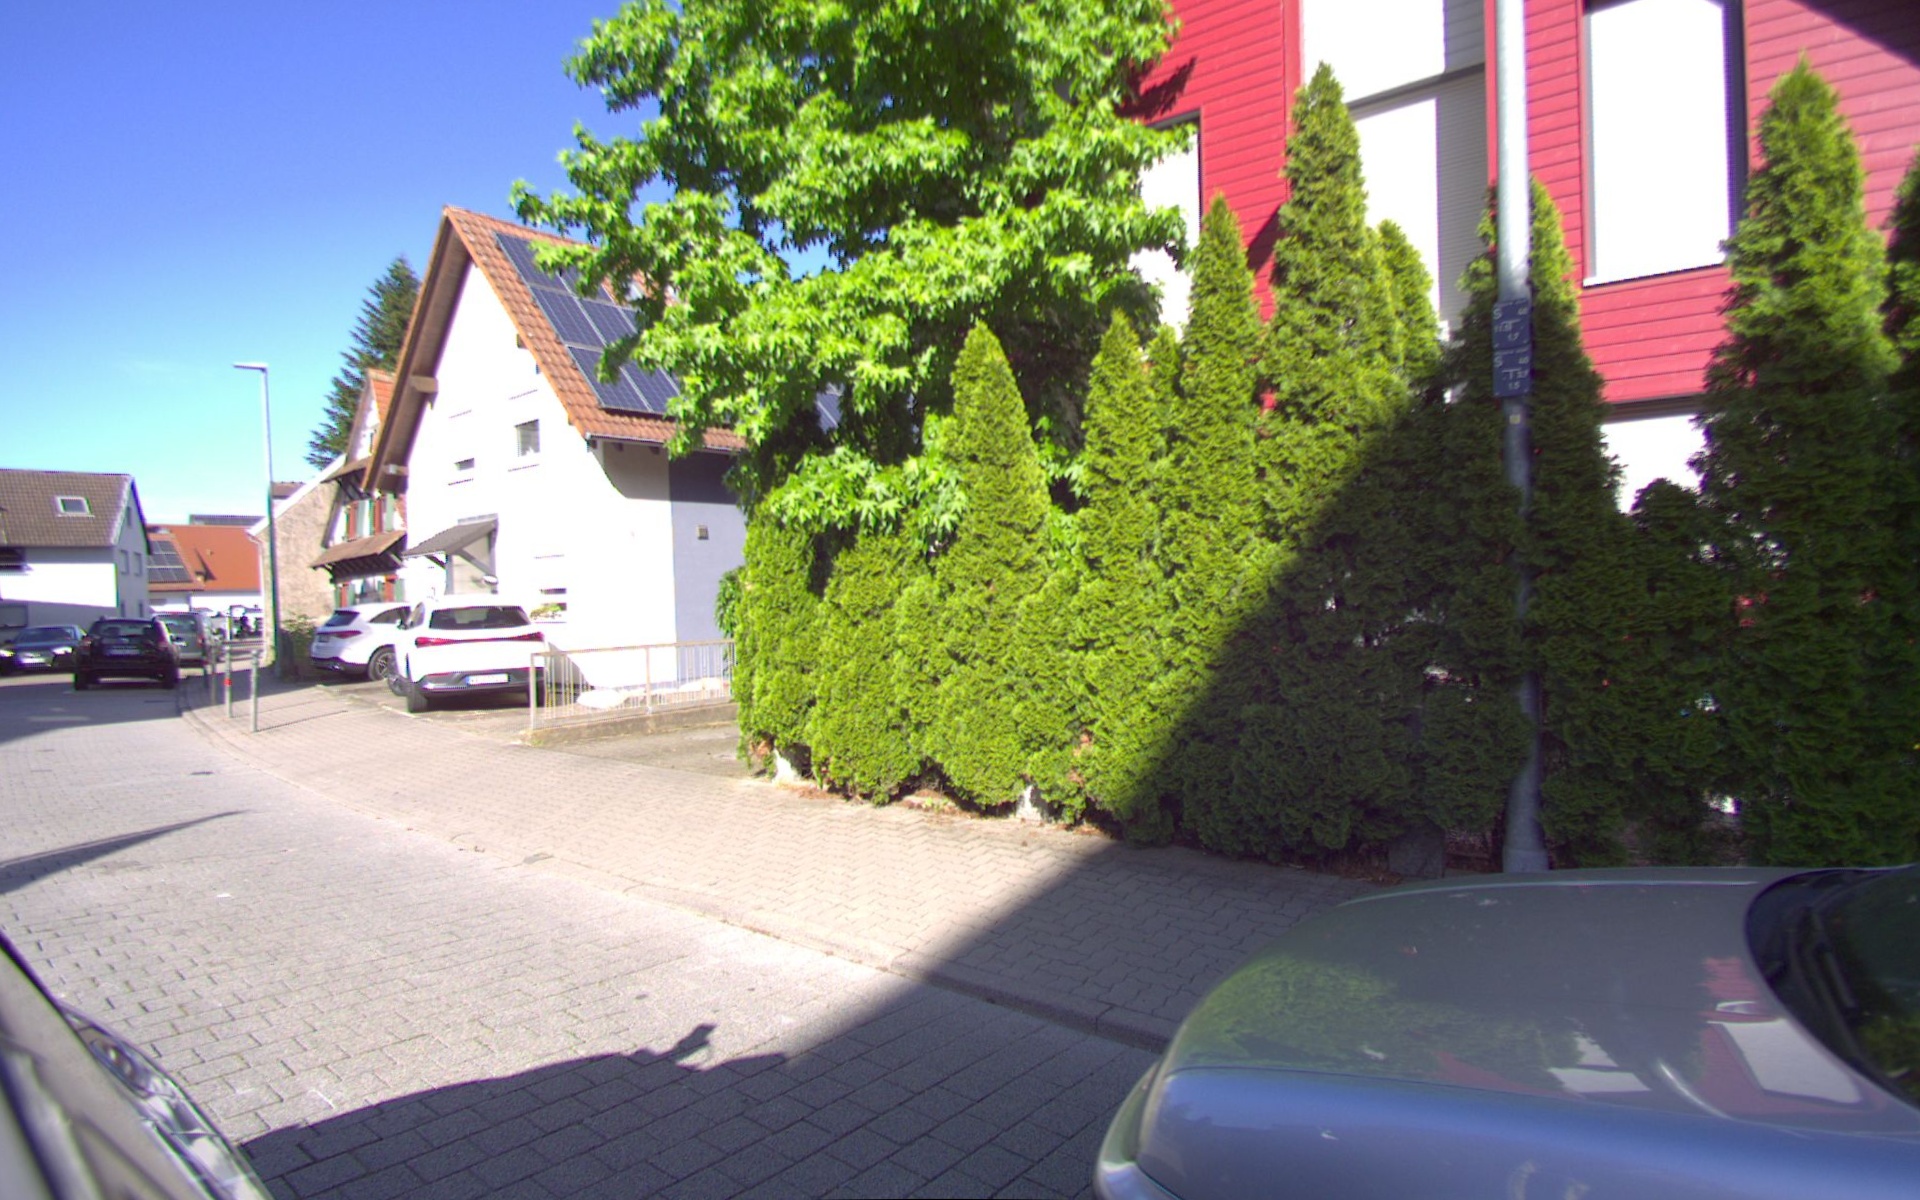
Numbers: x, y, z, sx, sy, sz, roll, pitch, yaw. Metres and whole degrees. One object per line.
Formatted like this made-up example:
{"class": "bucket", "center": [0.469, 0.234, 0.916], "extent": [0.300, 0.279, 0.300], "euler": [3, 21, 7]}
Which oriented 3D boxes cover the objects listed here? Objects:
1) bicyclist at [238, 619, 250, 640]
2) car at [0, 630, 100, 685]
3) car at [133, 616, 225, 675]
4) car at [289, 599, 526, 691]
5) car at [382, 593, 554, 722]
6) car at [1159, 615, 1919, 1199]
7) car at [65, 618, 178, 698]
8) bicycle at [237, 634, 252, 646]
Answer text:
{"class": "bicyclist", "center": [-46.777, 1.925, 66.135], "extent": [0.573, 1.330, 0.610], "euler": [0, -2, -28]}
{"class": "car", "center": [-27.169, 1.648, 30.161], "extent": [1.778, 1.489, 4.355], "euler": [1, -2, -33]}
{"class": "car", "center": [-25.662, 1.485, 33.411], "extent": [1.807, 1.803, 4.365], "euler": [2, -3, -30]}
{"class": "car", "center": [-11.775, 0.908, 21.760], "extent": [1.998, 1.601, 3.948], "euler": [-3, 1, 39]}
{"class": "car", "center": [-7.651, 0.768, 15.495], "extent": [1.792, 1.607, 4.458], "euler": [-3, 1, -33]}
{"class": "car", "center": [2.297, 0.711, 0.794], "extent": [3.886, 1.413, 1.655], "euler": [-2, -2, 38]}
{"class": "car", "center": [-19.693, 1.296, 23.929], "extent": [1.808, 1.683, 4.362], "euler": [0, -1, -36]}
{"class": "bicycle", "center": [-46.745, 2.588, 66.127], "extent": [0.573, 0.767, 1.805], "euler": [0, -2, -28]}
